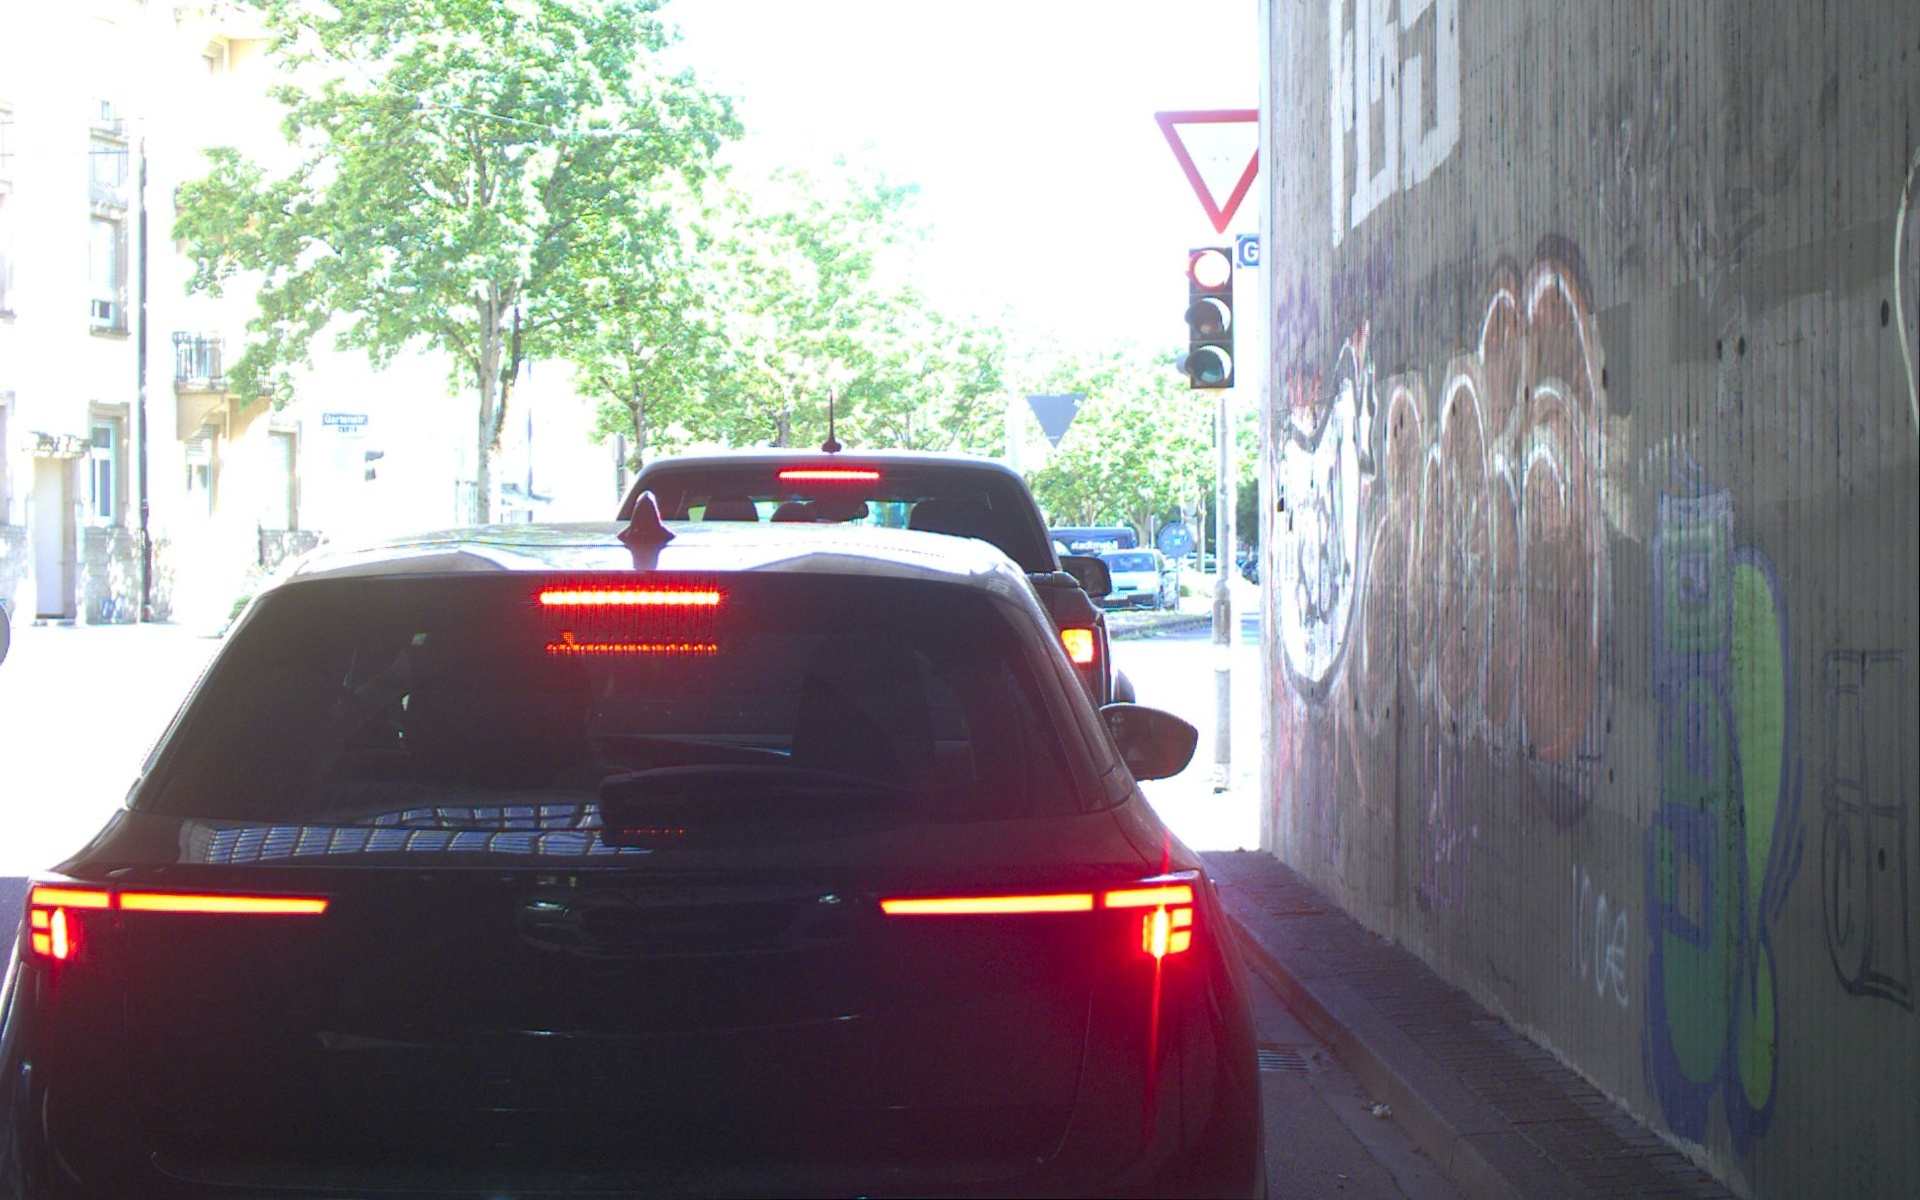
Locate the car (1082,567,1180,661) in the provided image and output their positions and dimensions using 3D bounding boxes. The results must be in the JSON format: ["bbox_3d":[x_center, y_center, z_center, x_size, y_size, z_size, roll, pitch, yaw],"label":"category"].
[{"bbox_3d":[3.751,0.268,74.817,1.994,1.963,4.163,1,1,5],"label":"car"}]

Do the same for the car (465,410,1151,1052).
[{"bbox_3d":[-0.466,0.346,12.068,1.993,1.865,4.000,0,1,-1],"label":"car"}]

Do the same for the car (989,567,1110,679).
[{"bbox_3d":[1.681,0.386,63.368,1.994,1.963,4.163,1,1,5],"label":"car"}]

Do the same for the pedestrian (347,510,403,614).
[{"bbox_3d":[-11.790,-0.766,69.257,0.892,2.080,0.808,1,0,7],"label":"pedestrian"}]

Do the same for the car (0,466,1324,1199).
[{"bbox_3d":[-0.481,0.560,6.108,1.764,1.566,4.001,1,2,-1],"label":"car"}]

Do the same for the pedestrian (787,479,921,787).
[{"bbox_3d":[-0.604,0.180,19.836,0.731,1.728,0.874,1,0,-1],"label":"pedestrian"}]
